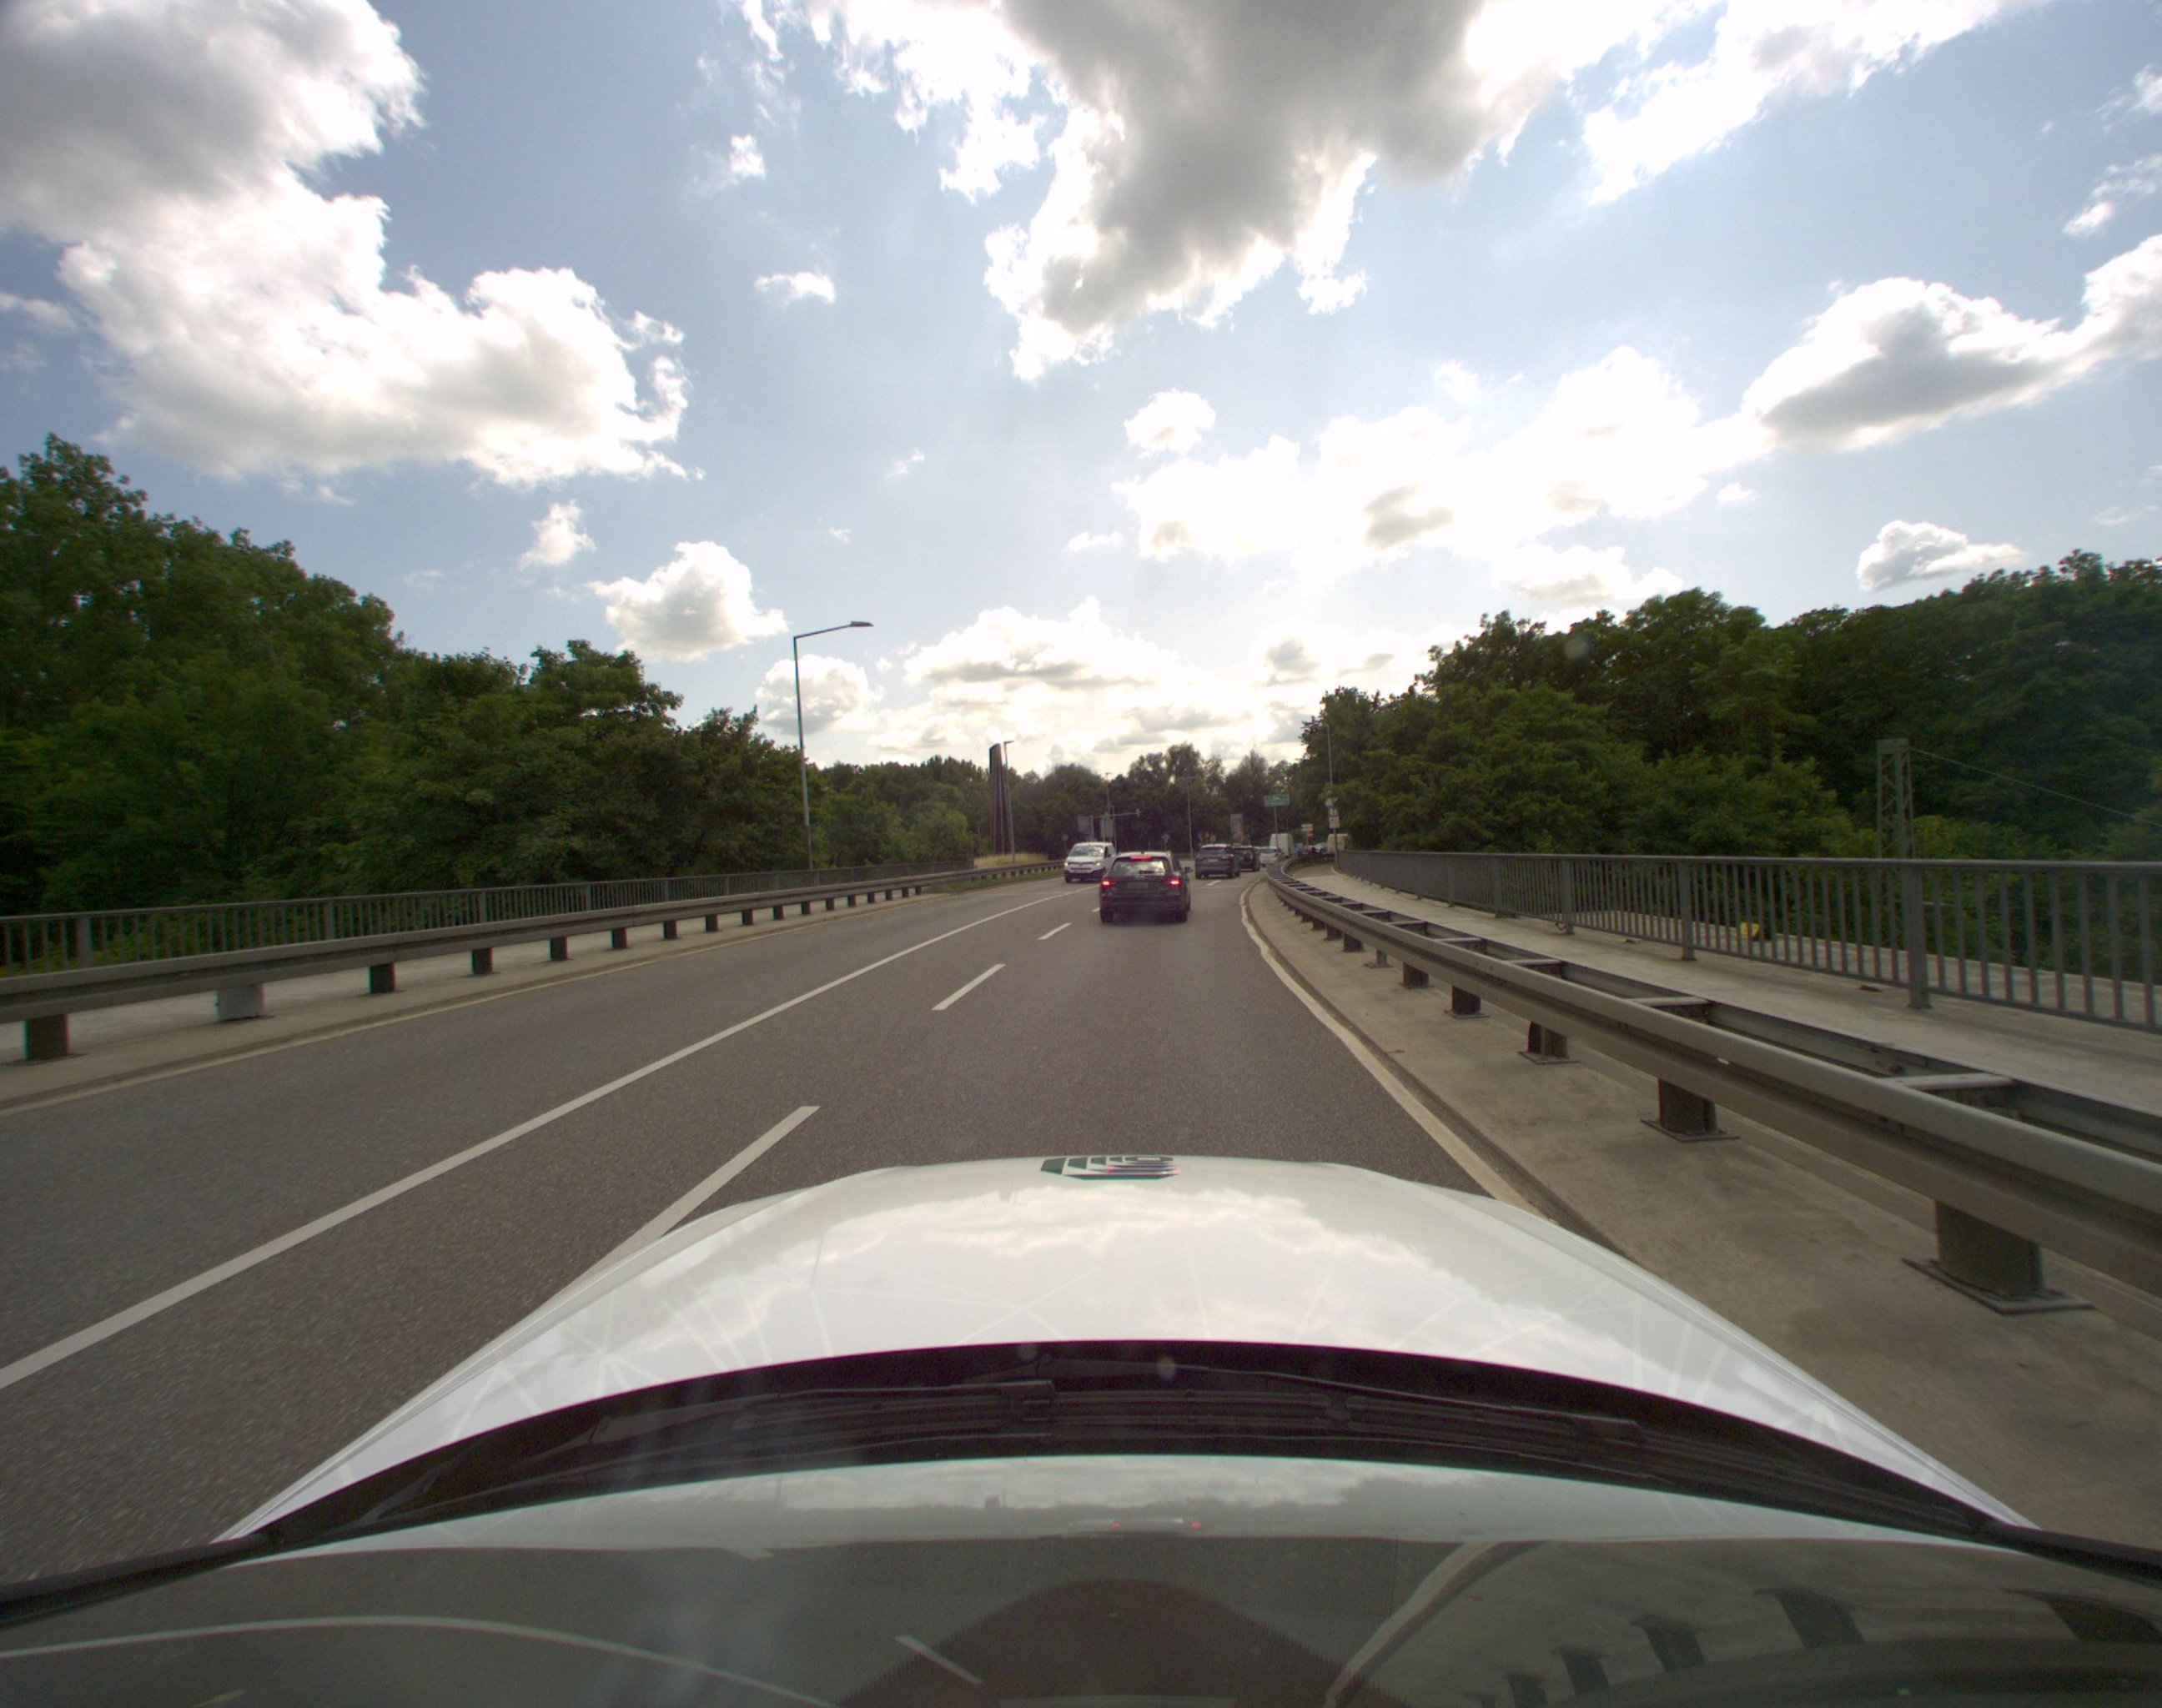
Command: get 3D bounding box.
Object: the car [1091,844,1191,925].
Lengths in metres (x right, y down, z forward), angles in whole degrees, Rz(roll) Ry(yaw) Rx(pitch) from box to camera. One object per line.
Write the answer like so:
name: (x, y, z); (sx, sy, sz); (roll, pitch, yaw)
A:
car: (1.432, 0.568, 17.843); (1.817, 1.491, 4.218); (-1, 1, 9)

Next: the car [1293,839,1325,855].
car: (20.390, -0.657, 72.819); (1.667, 1.398, 3.702); (-2, 0, 34)

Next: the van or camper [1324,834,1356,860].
van or camper: (26.679, -0.735, 83.857); (1.974, 2.590, 4.116); (0, 1, 35)

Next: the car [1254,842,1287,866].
car: (13.817, 0.001, 59.305); (1.718, 1.652, 3.876); (-1, -1, 22)

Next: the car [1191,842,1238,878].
car: (6.556, 0.270, 39.759); (1.807, 1.651, 3.872); (-1, 1, 16)

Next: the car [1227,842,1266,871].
car: (10.007, 0.133, 49.092); (1.719, 1.651, 3.876); (-1, 0, 20)

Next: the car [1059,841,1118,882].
car: (0.420, 0.319, 37.699); (1.801, 1.754, 4.320); (-1, 0, 13)

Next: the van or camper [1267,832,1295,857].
van or camper: (19.461, -0.901, 79.014); (2.254, 2.340, 5.265); (0, 0, 18)
